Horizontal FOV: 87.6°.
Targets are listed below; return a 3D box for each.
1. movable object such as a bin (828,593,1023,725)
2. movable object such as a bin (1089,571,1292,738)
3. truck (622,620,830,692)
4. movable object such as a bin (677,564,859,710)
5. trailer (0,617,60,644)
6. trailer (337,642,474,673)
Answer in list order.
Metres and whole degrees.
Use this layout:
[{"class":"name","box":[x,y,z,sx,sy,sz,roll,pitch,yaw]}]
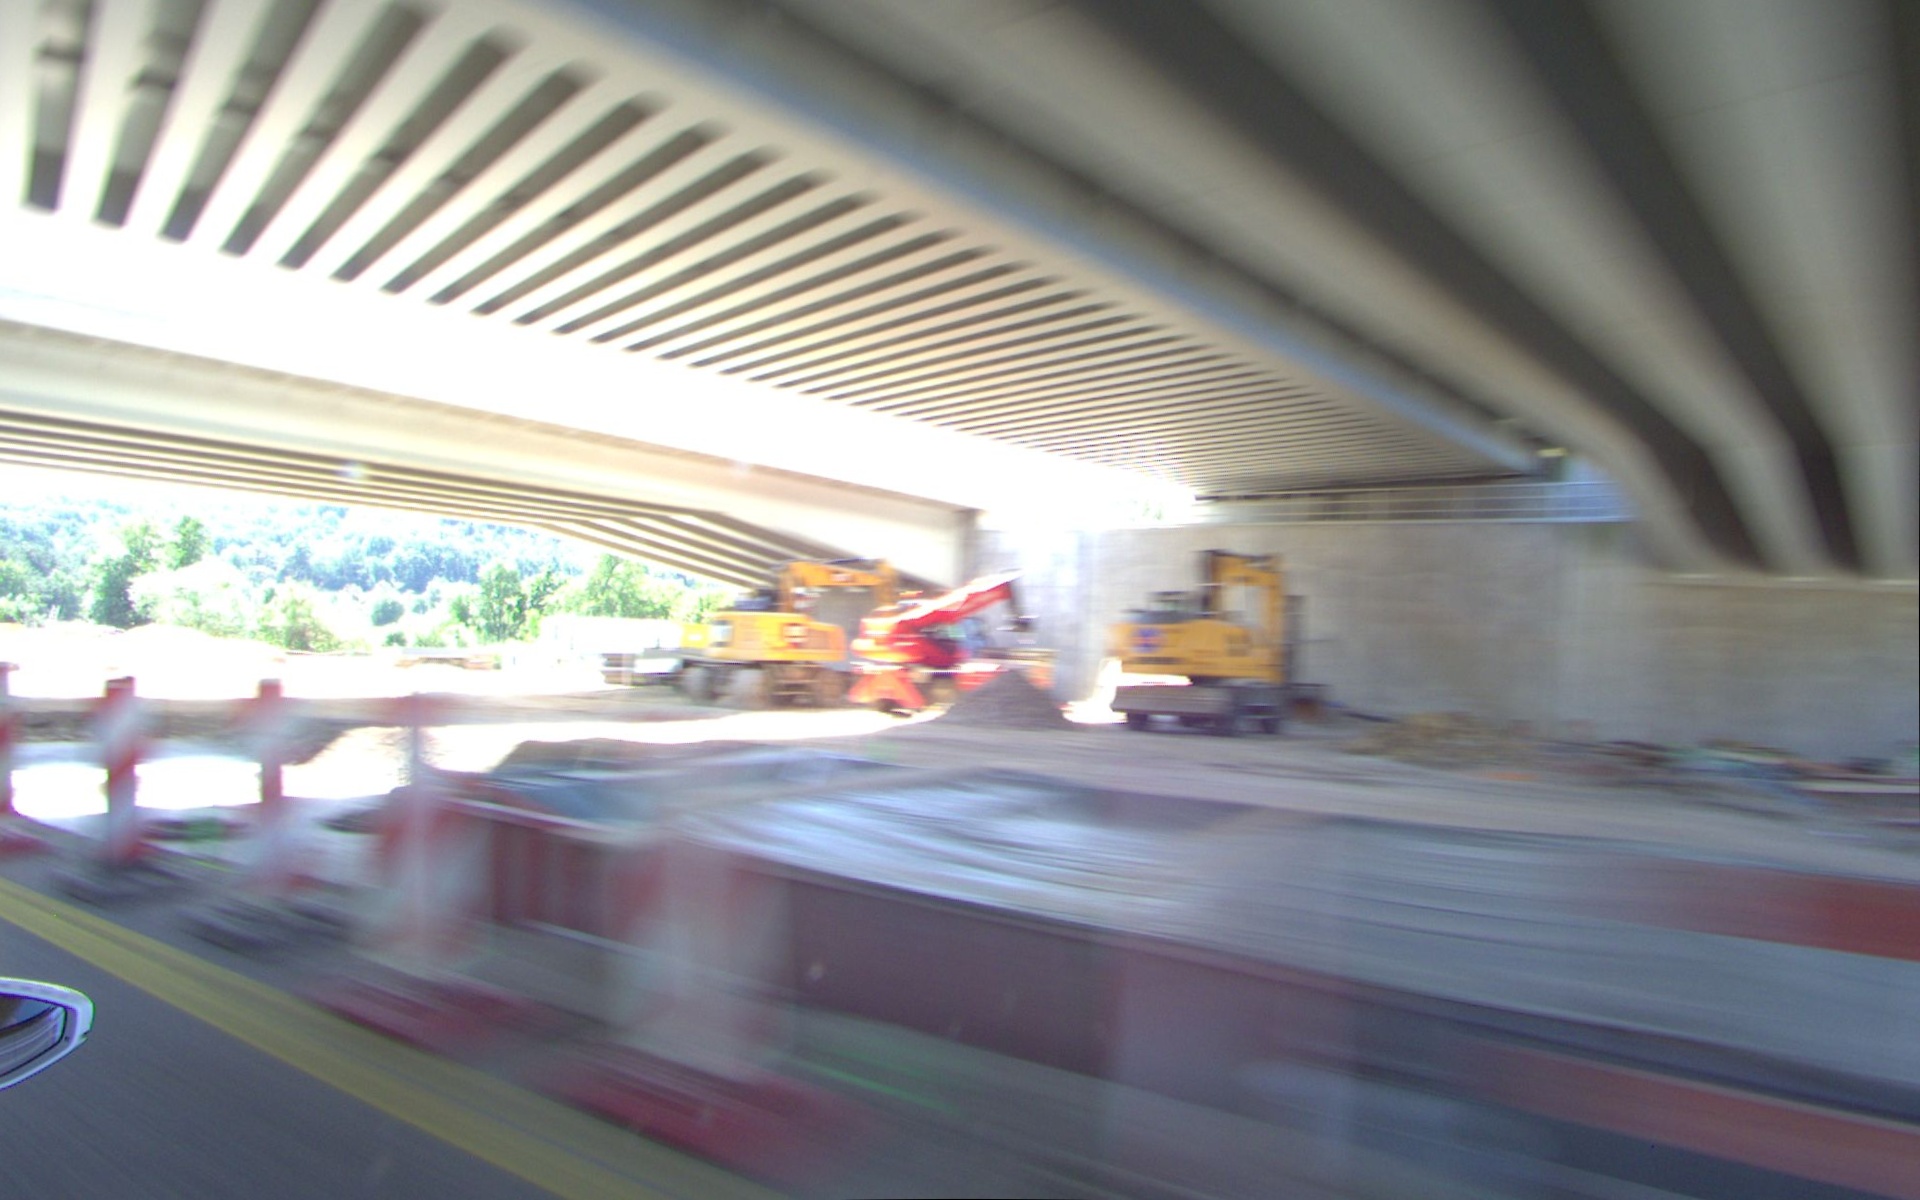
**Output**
[{"class":"movable object such as a bin","box":[-0.770,1.583,26.441,2.464,3.093,5.227,-2,-4,36]},{"class":"movable object such as a bin","box":[5.318,1.259,22.675,2.952,3.326,4.542,-2,-4,36]},{"class":"truck","box":[-7.467,1.839,32.785,2.630,2.099,6.506,0,-3,35]},{"class":"movable object such as a bin","box":[-5.138,1.074,27.072,2.873,3.585,3.862,-3,-5,43]},{"class":"trailer","box":[-55.533,1.810,59.679,3.767,1.504,1.623,0,-2,29]},{"class":"trailer","box":[-23.368,2.408,42.394,2.027,1.235,4.706,-2,-3,32]}]
